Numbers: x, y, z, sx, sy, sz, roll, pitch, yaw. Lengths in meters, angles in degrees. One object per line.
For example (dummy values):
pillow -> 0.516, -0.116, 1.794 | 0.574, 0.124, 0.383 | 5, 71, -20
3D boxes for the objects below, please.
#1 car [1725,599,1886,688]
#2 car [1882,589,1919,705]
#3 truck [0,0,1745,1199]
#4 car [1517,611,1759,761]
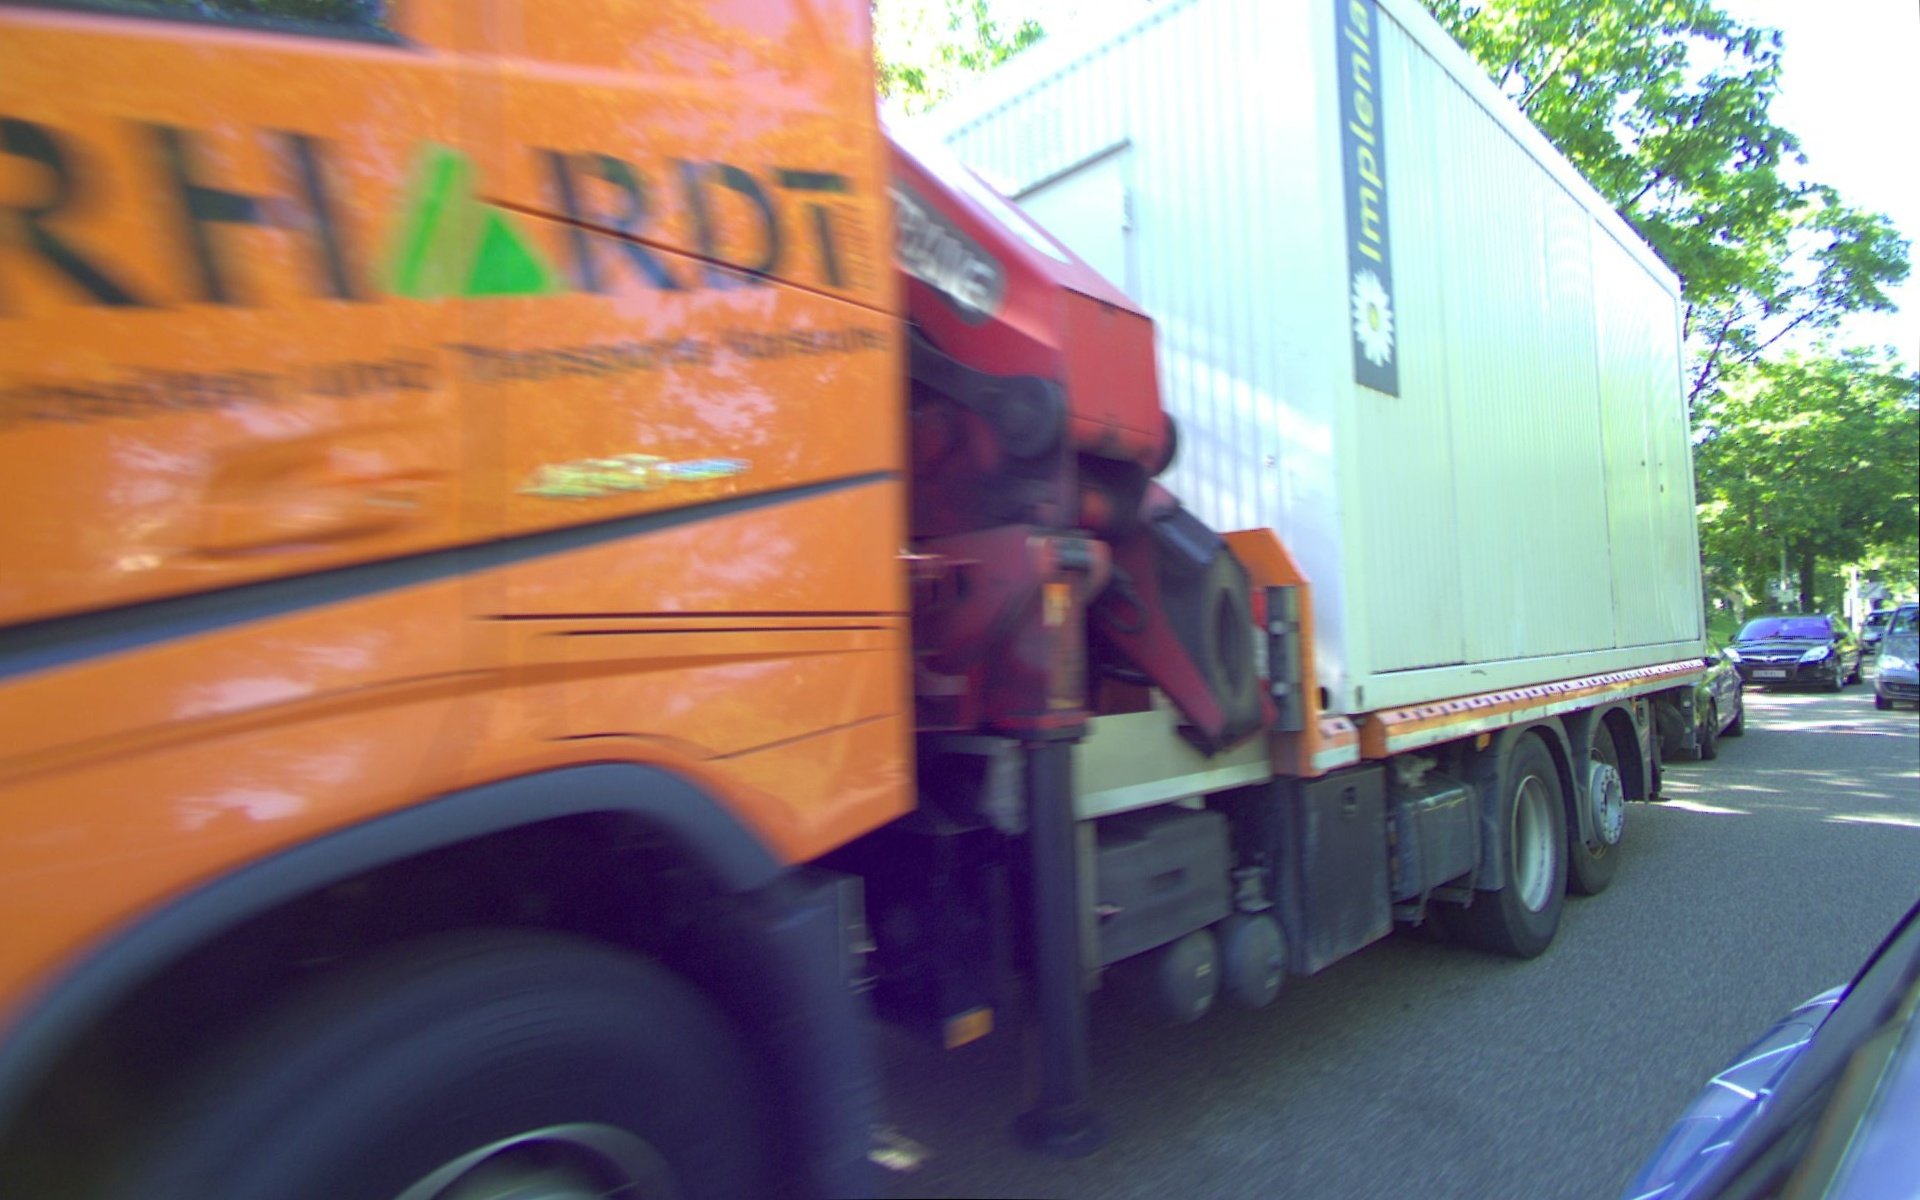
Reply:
car -> 16.336, 0.798, 19.491 | 3.961, 1.499, 1.750 | -1, -3, -42
car -> 15.153, 0.647, 15.217 | 1.729, 1.608, 3.936 | -4, -3, 44
truck -> 1.014, -0.406, 4.886 | 10.176, 4.048, 2.774 | 0, -3, -44
car -> 7.963, 0.881, 11.732 | 1.639, 1.439, 3.937 | -4, -3, 43
